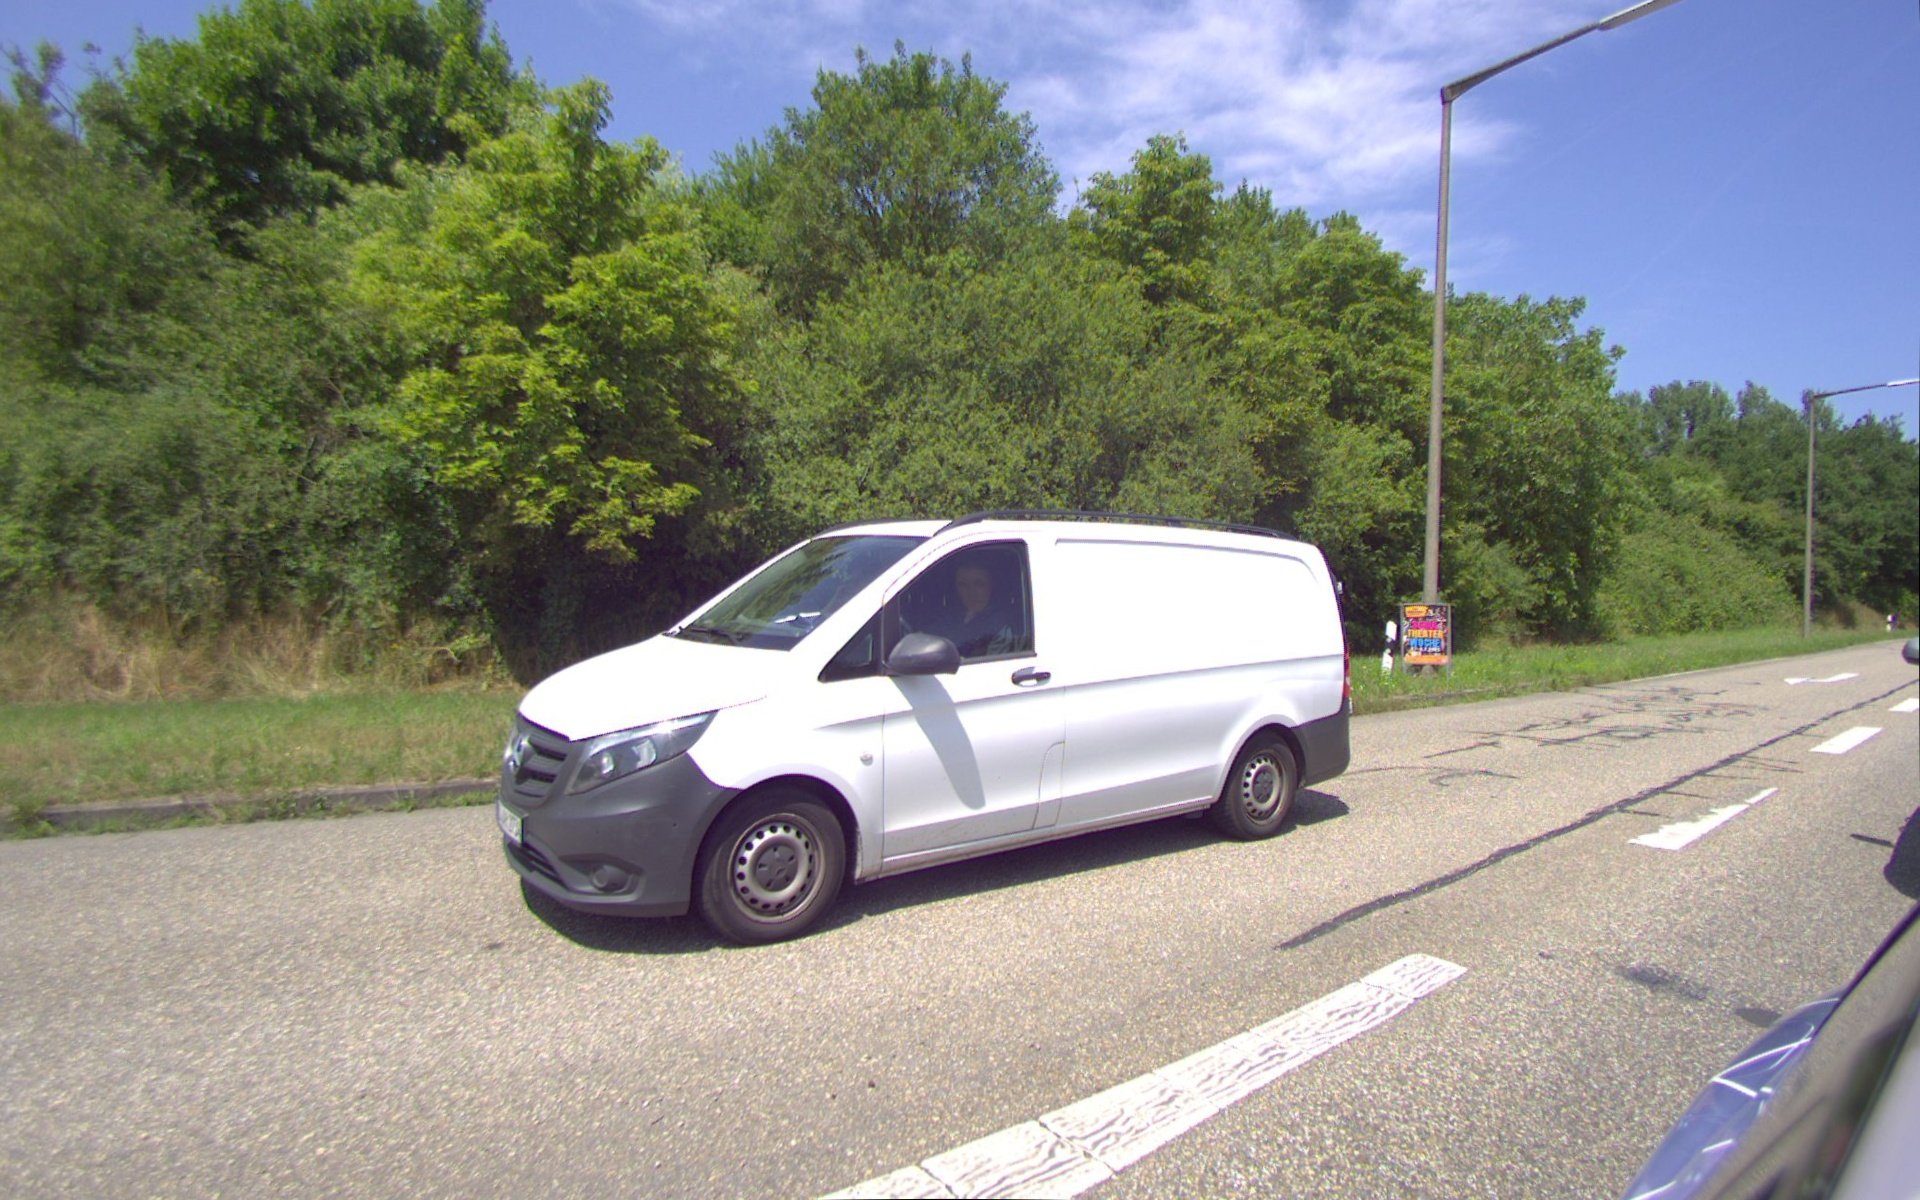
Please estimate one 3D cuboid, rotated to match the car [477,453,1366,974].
[{"bbox_3d":[0.062,0.392,5.755,4.815,1.841,1.866,0,1,-36],"label":"car"}]
